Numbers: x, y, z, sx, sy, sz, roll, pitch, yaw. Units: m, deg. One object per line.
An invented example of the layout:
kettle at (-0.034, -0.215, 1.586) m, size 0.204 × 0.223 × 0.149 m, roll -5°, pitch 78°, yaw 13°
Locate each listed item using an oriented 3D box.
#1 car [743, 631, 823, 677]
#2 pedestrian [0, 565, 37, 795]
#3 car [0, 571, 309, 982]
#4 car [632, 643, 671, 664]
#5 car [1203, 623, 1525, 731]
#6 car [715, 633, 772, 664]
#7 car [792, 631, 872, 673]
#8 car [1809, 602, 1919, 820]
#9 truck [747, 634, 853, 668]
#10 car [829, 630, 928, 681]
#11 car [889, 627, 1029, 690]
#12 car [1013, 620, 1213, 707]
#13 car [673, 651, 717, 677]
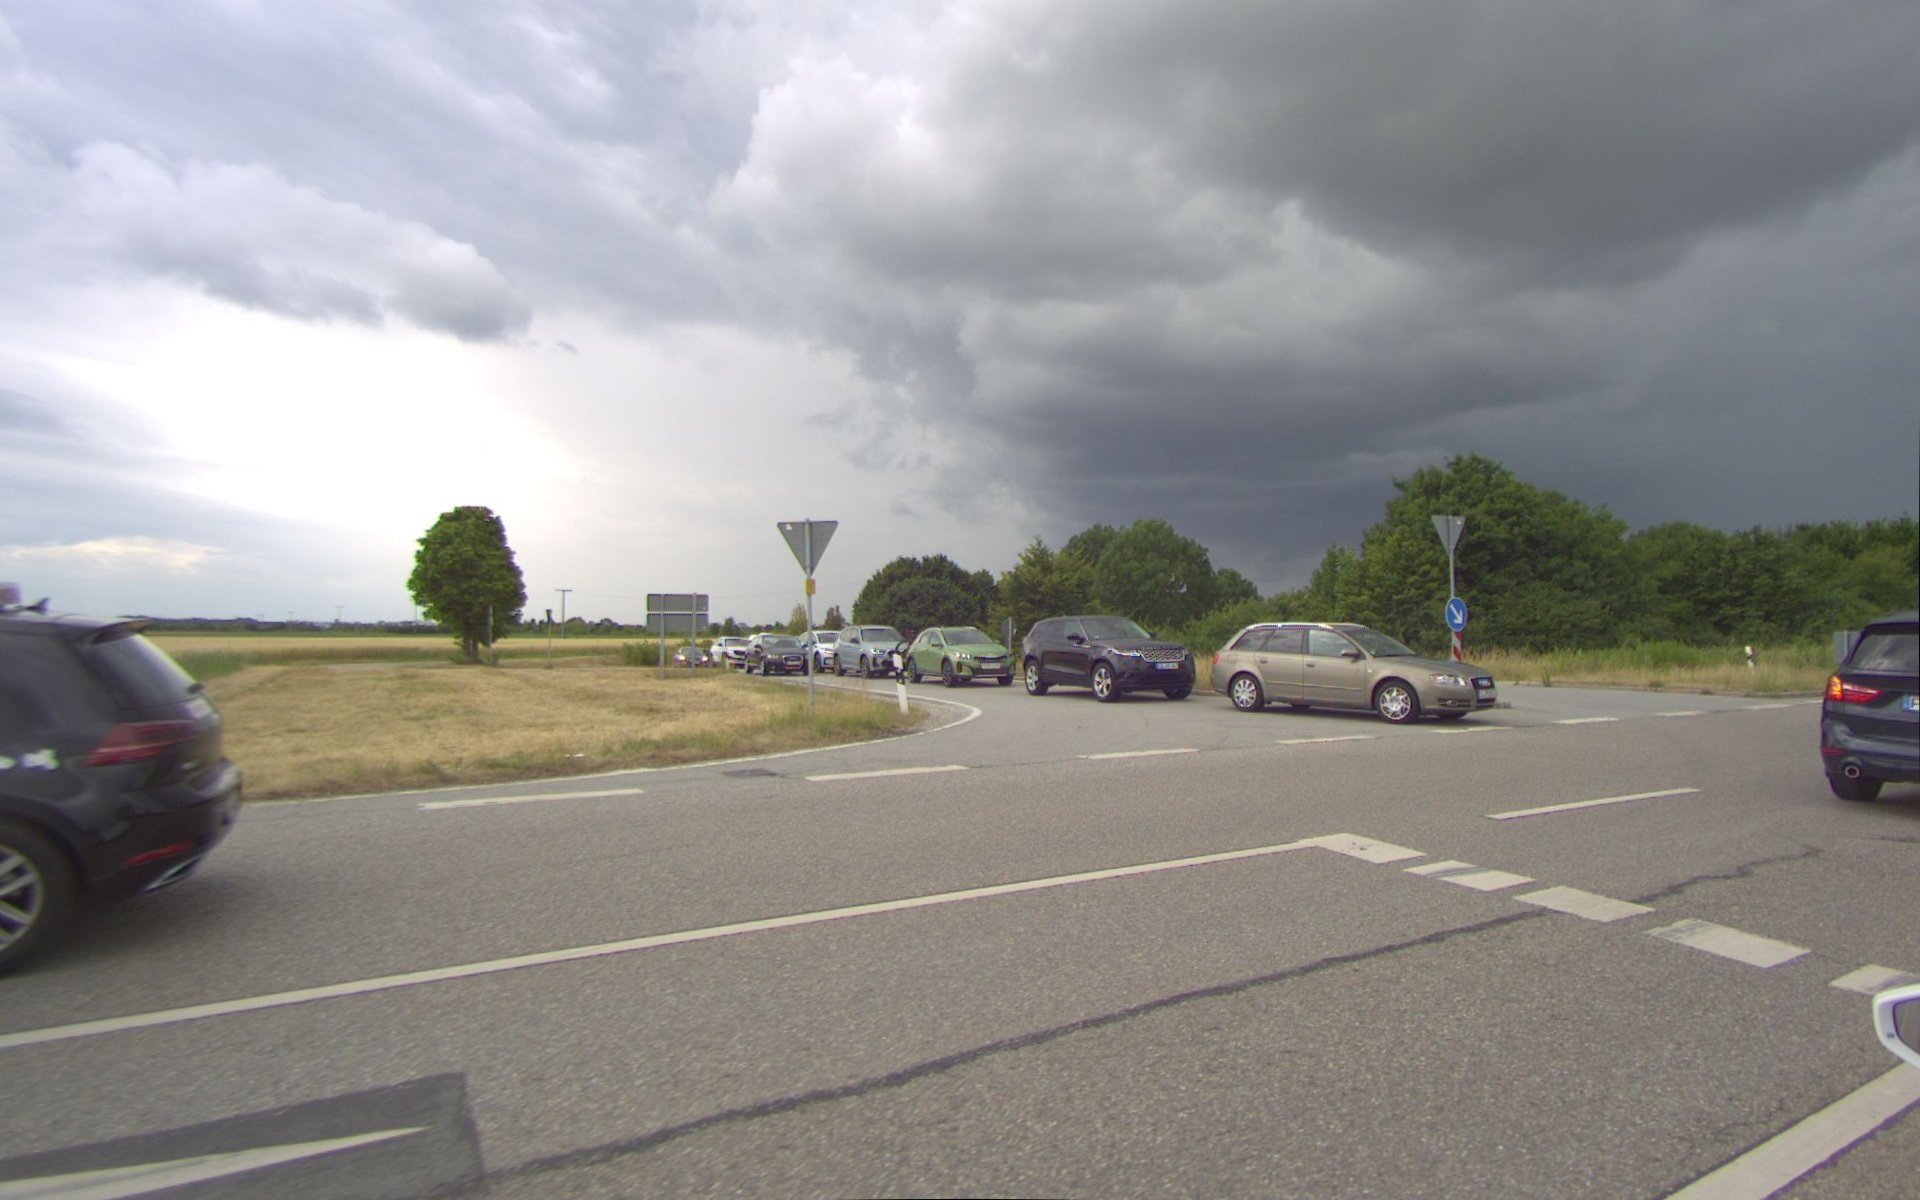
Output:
car at (-6.369, 1.868, 35.809) m, size 1.884 × 1.502 × 4.388 m, roll 1°, pitch -2°, yaw -23°
pedestrian at (-7.264, 0.574, 7.158) m, size 0.856 × 1.626 × 0.590 m, roll 2°, pitch -4°, yaw -32°
car at (-5.148, 0.626, 3.829) m, size 4.344 × 1.541 × 1.671 m, roll 2°, pitch 0°, yaw -30°
car at (-27.173, 4.704, 88.561) m, size 1.873 × 1.703 × 4.508 m, roll 0°, pitch -2°, yaw 3°
car at (6.194, 1.105, 15.878) m, size 1.894 × 1.443 × 4.418 m, roll 2°, pitch -2°, yaw -37°
car at (-11.320, 2.471, 52.211) m, size 1.886 × 1.502 × 4.476 m, roll 1°, pitch -2°, yaw -26°
car at (-4.979, 1.951, 38.493) m, size 1.884 × 1.502 × 4.481 m, roll 1°, pitch -2°, yaw -23°
car at (9.232, 0.893, 8.575) m, size 4.431 × 1.633 × 1.693 m, roll 1°, pitch 0°, yaw -31°
truck at (-16.266, 5.170, 104.647) m, size 2.746 × 3.174 × 16.317 m, roll 0°, pitch -2°, yaw 22°
car at (-2.745, 1.749, 32.745) m, size 1.884 × 1.537 × 4.613 m, roll 1°, pitch -2°, yaw -23°
car at (-0.167, 1.505, 27.301) m, size 1.884 × 1.541 × 5.273 m, roll 1°, pitch -2°, yaw -23°
car at (2.957, 1.217, 20.577) m, size 1.884 × 1.552 × 4.729 m, roll 1°, pitch -2°, yaw -23°
car at (-16.902, 4.032, 63.975) m, size 1.886 × 1.502 × 4.476 m, roll 1°, pitch -2°, yaw -26°
